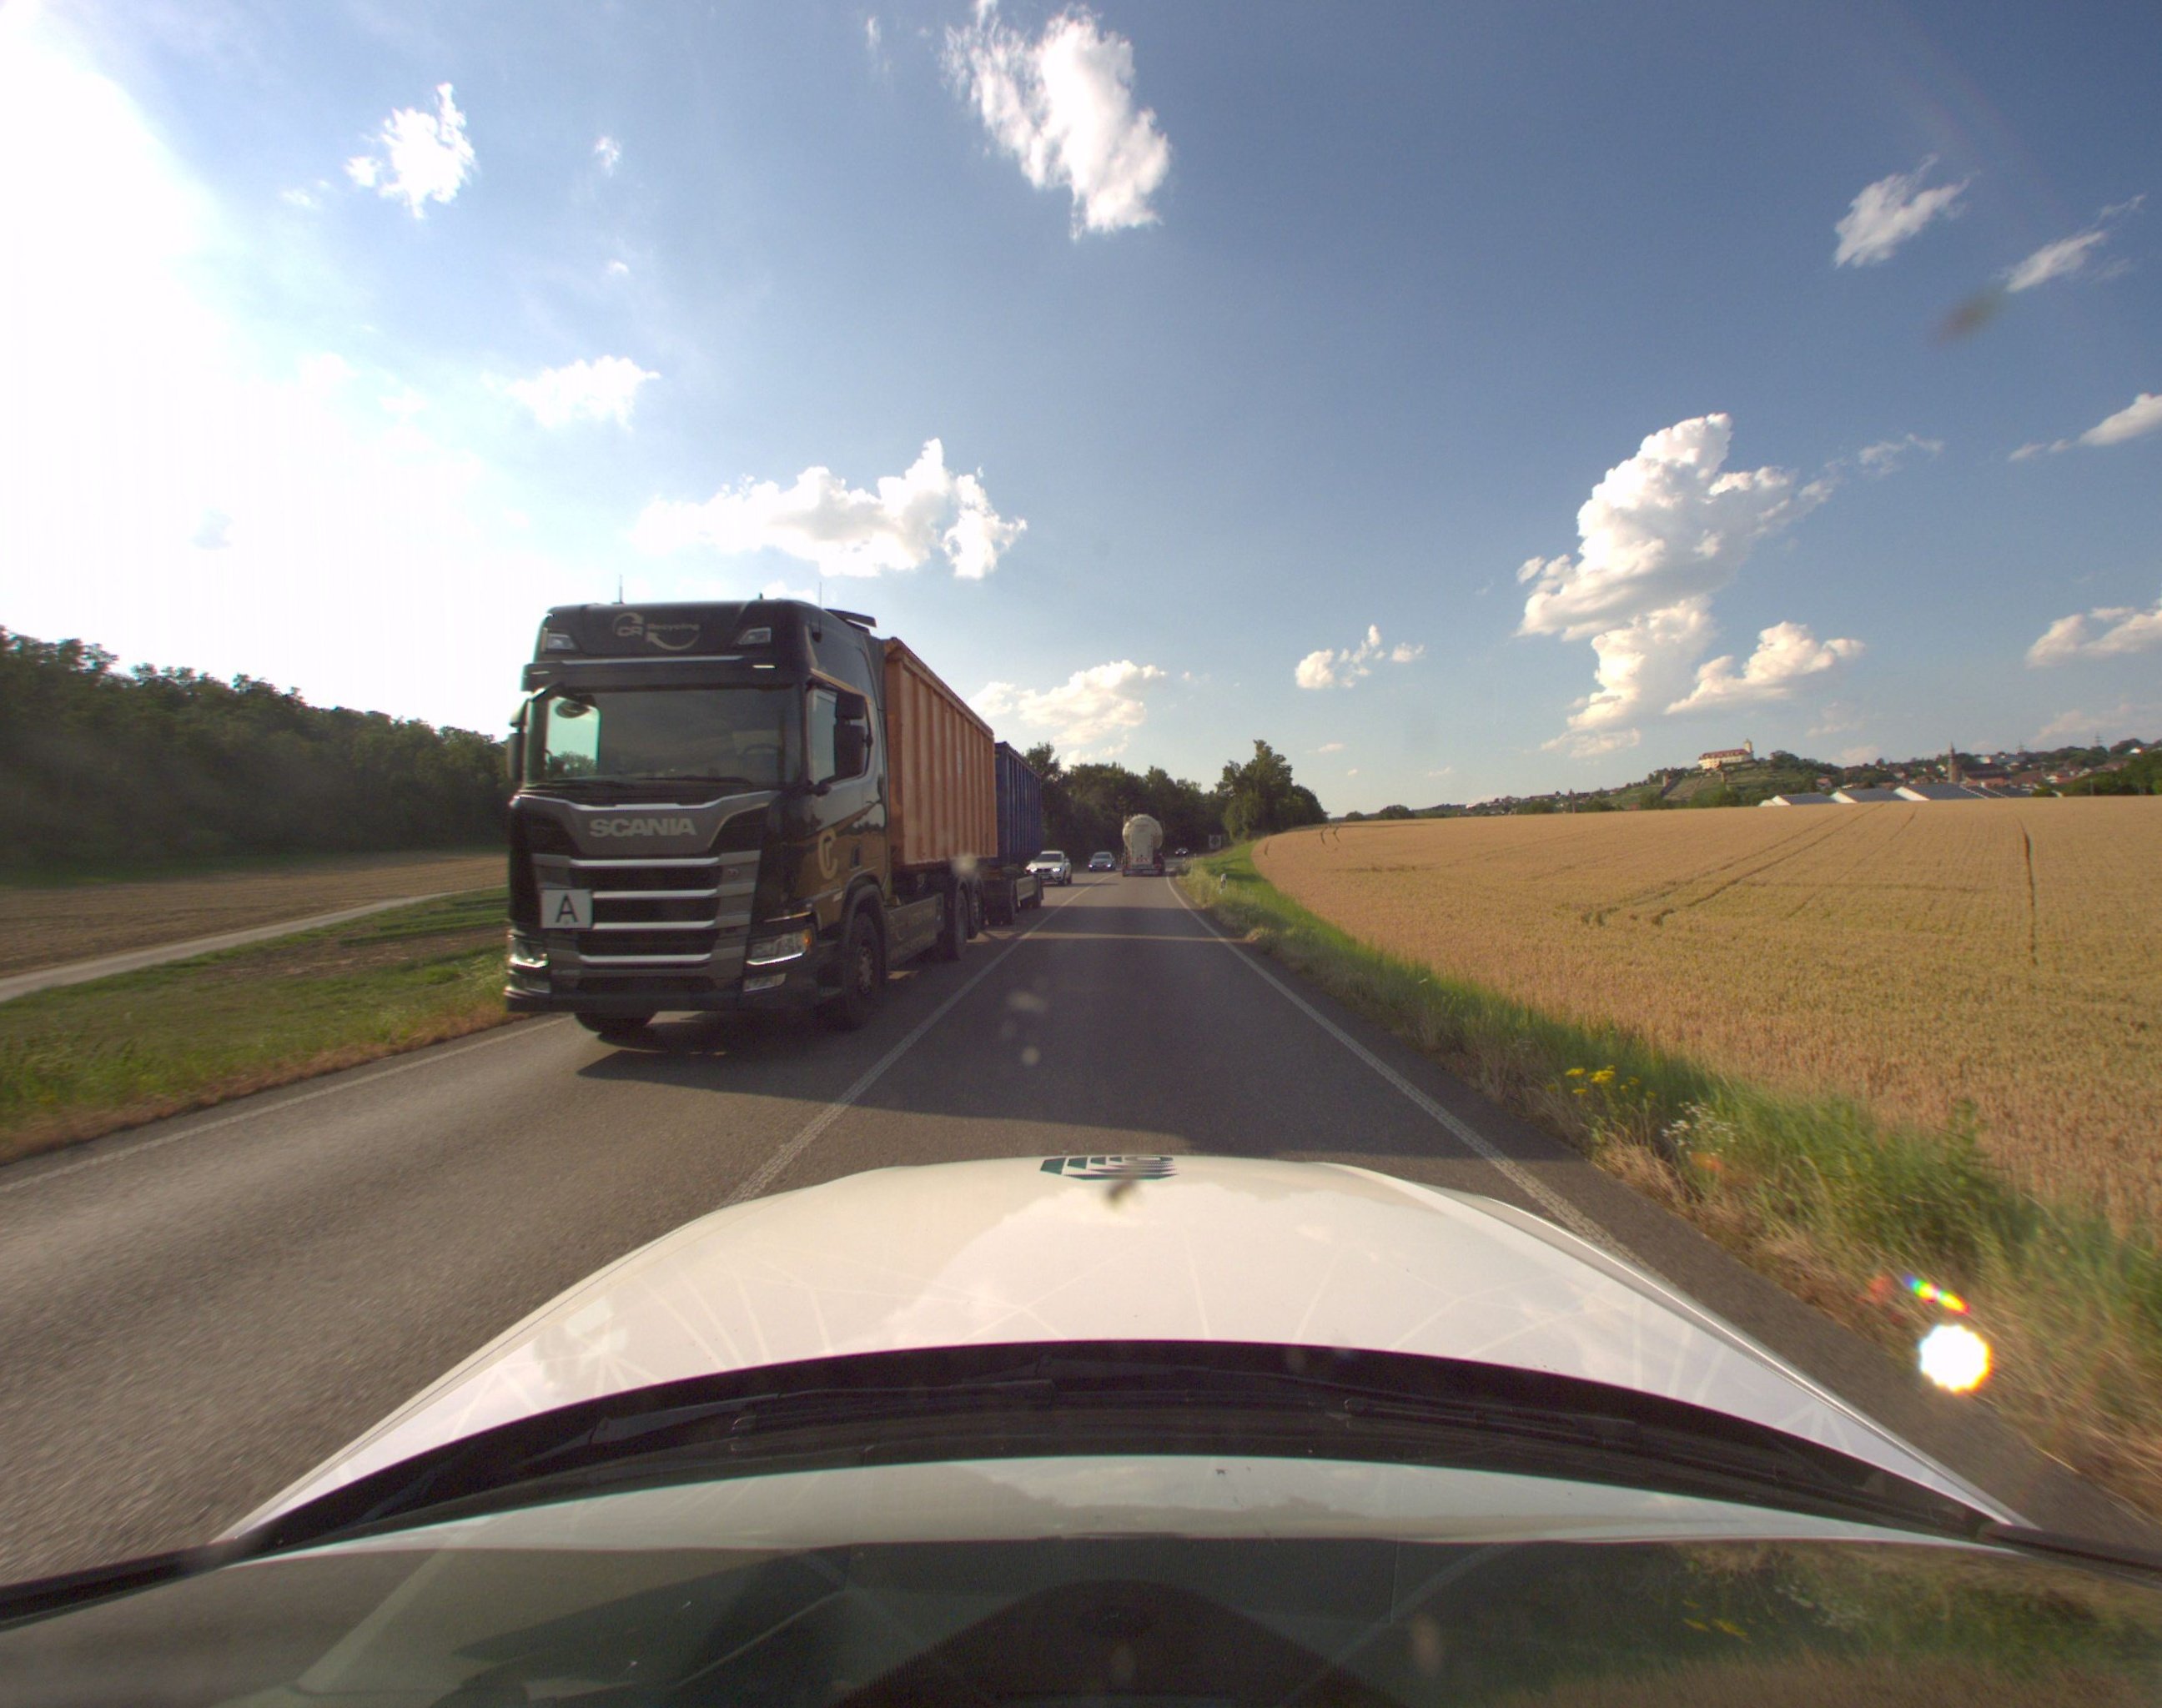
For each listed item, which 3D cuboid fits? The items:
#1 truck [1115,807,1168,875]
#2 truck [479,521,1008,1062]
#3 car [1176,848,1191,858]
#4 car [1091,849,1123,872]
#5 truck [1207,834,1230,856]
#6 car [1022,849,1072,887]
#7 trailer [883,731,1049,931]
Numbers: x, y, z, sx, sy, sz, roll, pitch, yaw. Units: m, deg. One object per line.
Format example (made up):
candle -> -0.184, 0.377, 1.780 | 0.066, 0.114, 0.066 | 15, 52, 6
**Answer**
truck -> 4.404, -0.769, 56.344 | 2.877, 4.143, 13.199 | -1, 0, 7
truck -> -2.975, -0.433, 11.096 | 2.379, 3.921, 10.167 | -2, 0, 3
car -> 18.478, -0.156, 146.305 | 1.960, 1.651, 4.755 | -2, 1, 15
car -> 2.120, 0.496, 65.508 | 1.964, 1.651, 4.373 | -2, 1, 8
truck -> 27.981, -1.903, 165.519 | 3.160, 4.227, 13.227 | -2, 0, 15
car -> -1.566, 0.647, 39.499 | 1.967, 1.651, 4.366 | -2, 1, 3
trailer -> -2.470, -0.432, 20.698 | 2.354, 3.921, 8.968 | -2, 0, 3
